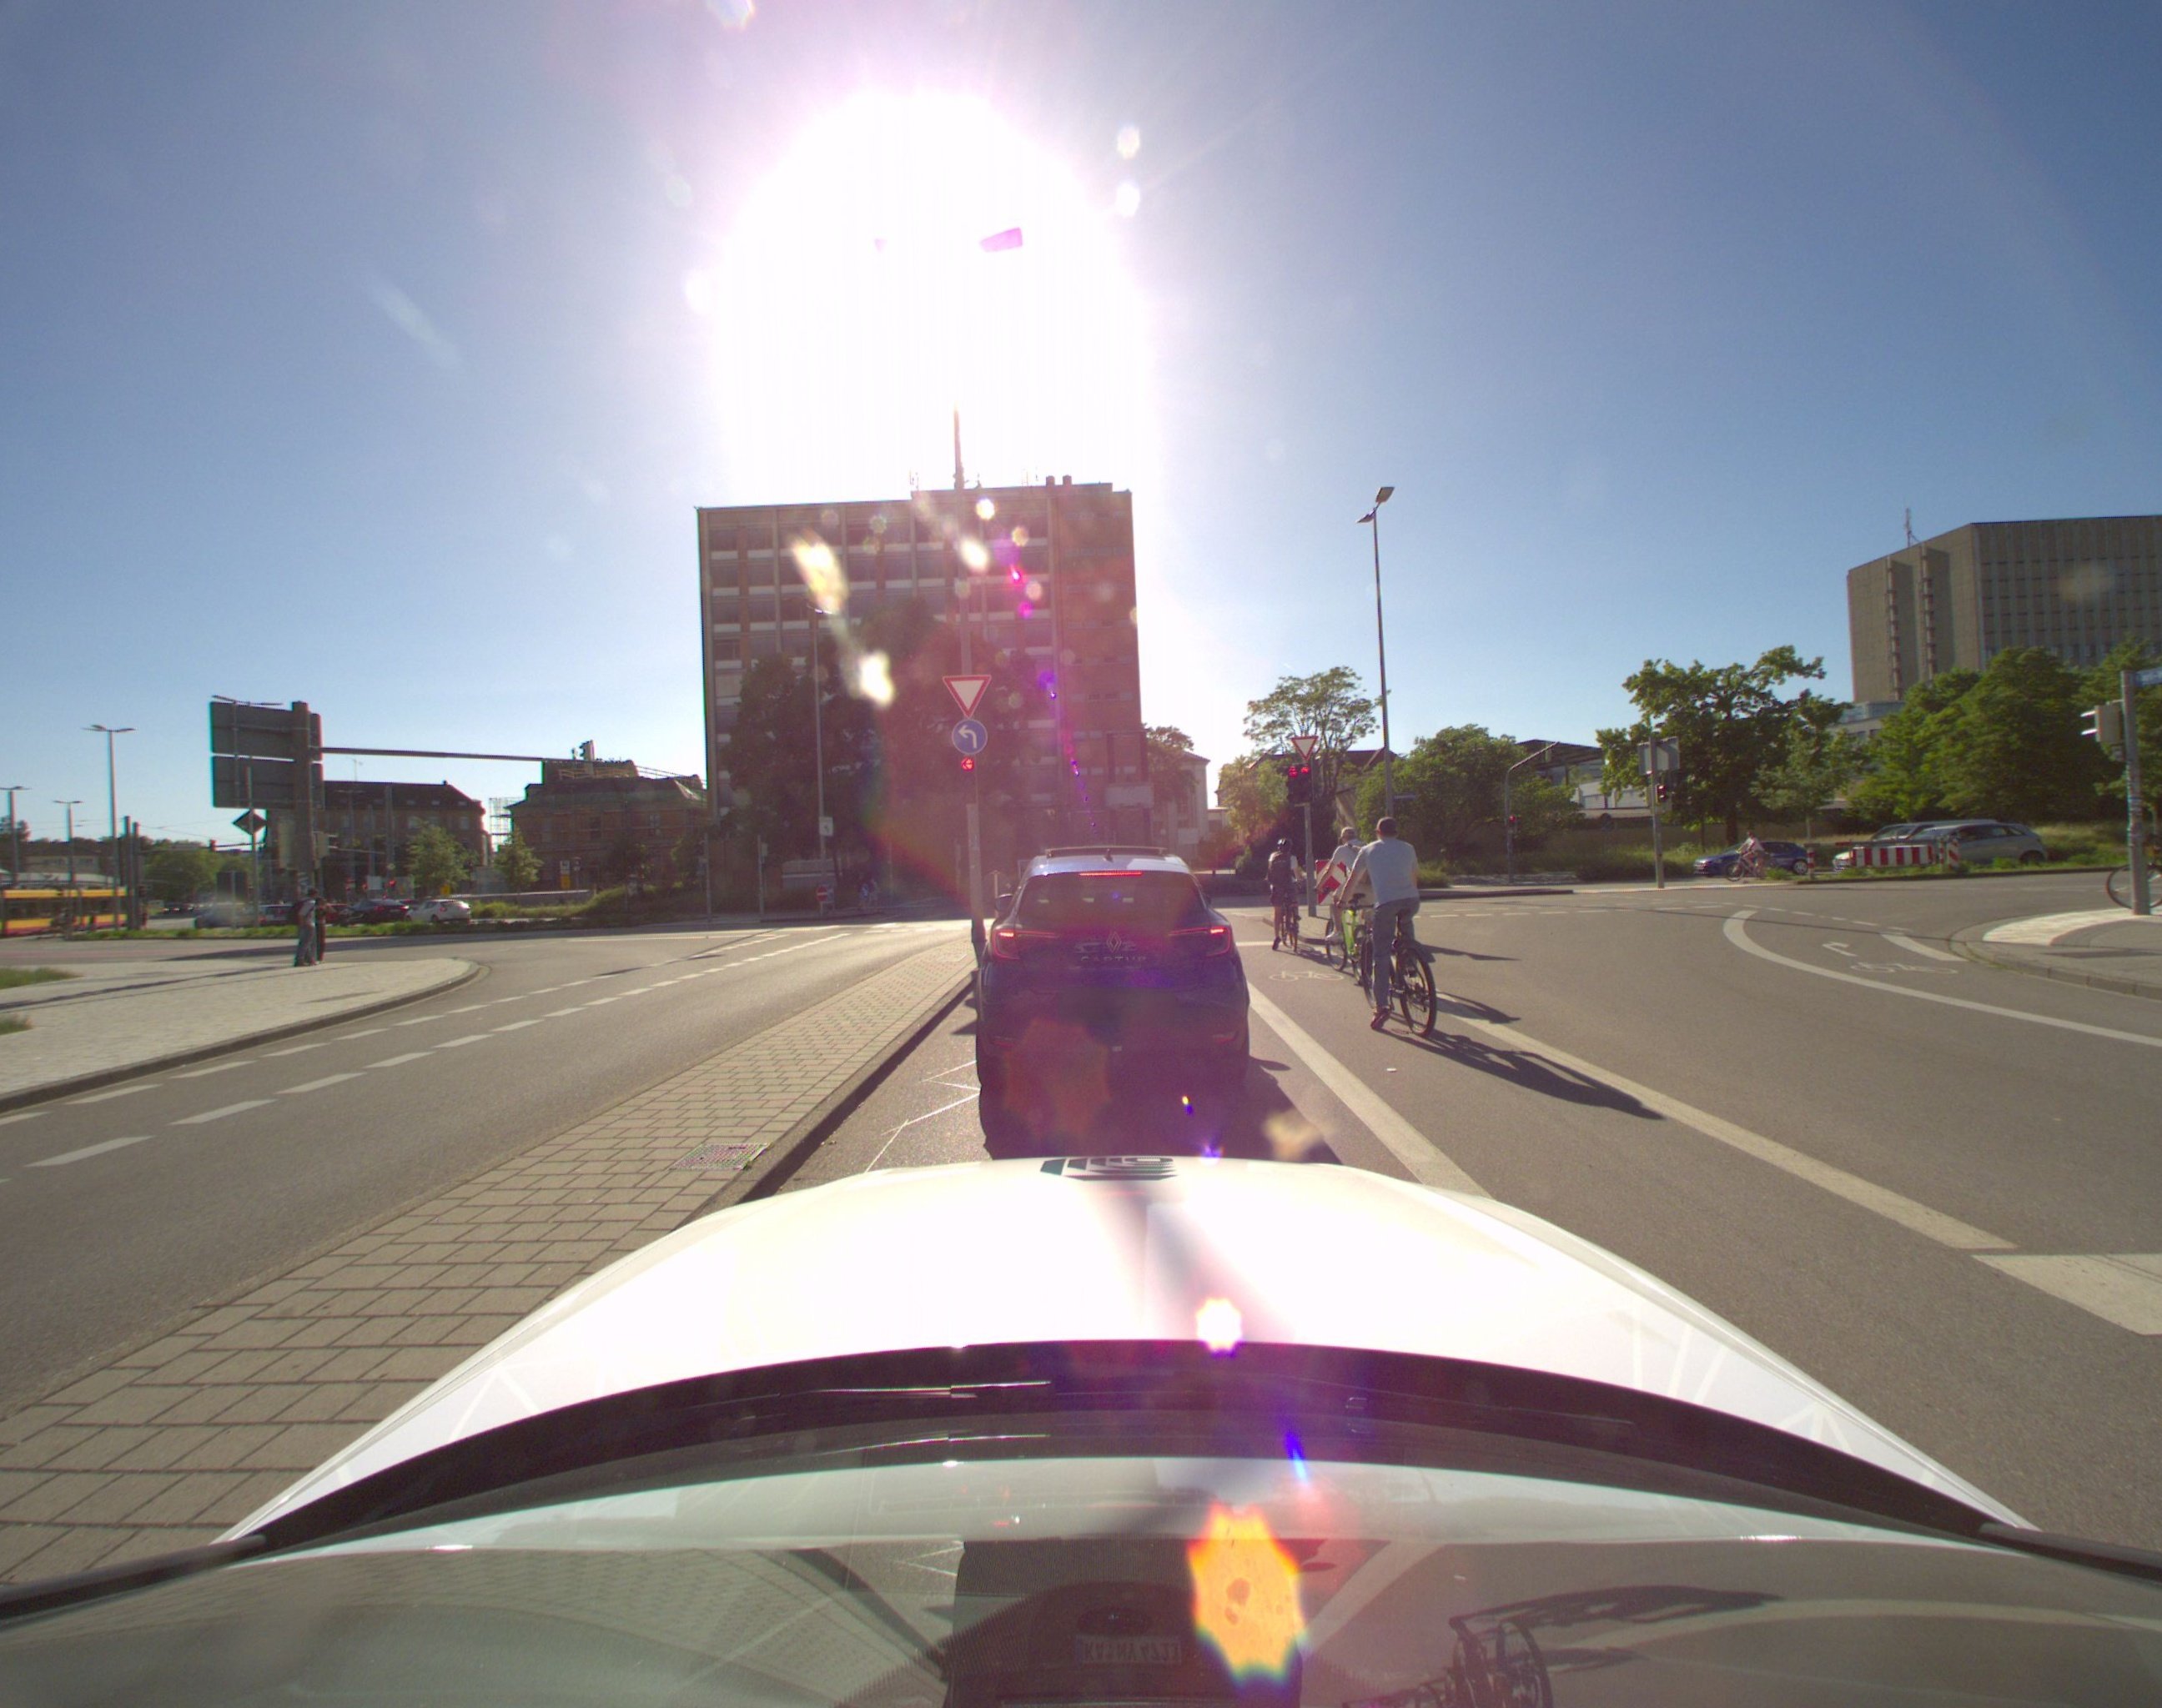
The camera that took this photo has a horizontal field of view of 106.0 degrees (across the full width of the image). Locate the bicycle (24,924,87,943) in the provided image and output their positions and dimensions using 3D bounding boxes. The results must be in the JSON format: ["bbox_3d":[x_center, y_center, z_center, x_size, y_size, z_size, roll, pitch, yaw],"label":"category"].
[{"bbox_3d":[-66.102,5.120,52.523,2.433,1.062,0.800,0,-1,-45],"label":"bicycle"}]

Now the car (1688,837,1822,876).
[{"bbox_3d":[28.138,0.109,34.110,3.965,1.398,1.798,-2,-1,7],"label":"car"}]

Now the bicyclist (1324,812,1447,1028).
[{"bbox_3d":[2.718,0.555,7.389,0.680,1.791,1.142,-1,-1,2],"label":"bicyclist"}]

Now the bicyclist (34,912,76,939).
[{"bbox_3d":[-66.135,4.595,52.519,1.585,1.634,0.800,0,-1,-44],"label":"bicyclist"}]

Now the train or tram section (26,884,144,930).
[{"bbox_3d":[-80.865,4.160,66.425,2.710,3.232,10.495,0,-1,-31],"label":"train or tram section"}]

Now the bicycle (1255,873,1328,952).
[{"bbox_3d":[3.271,0.874,12.809,0.687,1.089,1.923,-1,0,2],"label":"bicycle"}]

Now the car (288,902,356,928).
[{"bbox_3d":[-48.203,3.864,51.715,3.834,1.508,1.805,-3,-1,25],"label":"car"}]

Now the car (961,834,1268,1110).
[{"bbox_3d":[0.200,0.705,6.771,1.783,1.585,3.913,-1,0,0],"label":"car"}]

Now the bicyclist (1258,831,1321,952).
[{"bbox_3d":[3.240,0.559,12.742,0.697,1.791,1.142,-1,-1,2],"label":"bicyclist"}]

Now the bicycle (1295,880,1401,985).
[{"bbox_3d":[3.186,0.891,9.901,0.687,1.089,1.923,-1,0,2],"label":"bicycle"}]

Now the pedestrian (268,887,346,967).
[{"bbox_3d":[-17.719,1.647,18.656,0.647,1.730,1.066,-3,-1,15],"label":"pedestrian"}]

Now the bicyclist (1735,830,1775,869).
[{"bbox_3d":[24.039,-0.157,29.055,0.870,1.343,0.612,-2,-1,7],"label":"bicyclist"}]

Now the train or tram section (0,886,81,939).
[{"bbox_3d":[-75.371,4.047,57.454,2.710,3.232,10.495,0,-1,-31],"label":"train or tram section"}]

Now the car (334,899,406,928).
[{"bbox_3d":[-42.547,3.558,48.746,3.834,1.508,1.805,-3,-1,25],"label":"car"}]

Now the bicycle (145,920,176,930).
[{"bbox_3d":[-63.586,4.927,56.252,0.429,0.549,1.419,-3,-1,42],"label":"bicycle"}]

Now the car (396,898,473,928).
[{"bbox_3d":[-36.391,3.332,45.841,3.834,1.508,1.805,-3,-1,25],"label":"car"}]

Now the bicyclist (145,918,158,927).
[{"bbox_3d":[-63.879,4.709,55.953,0.425,0.549,0.575,-3,-1,42],"label":"bicyclist"}]

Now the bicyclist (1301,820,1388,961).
[{"bbox_3d":[3.172,0.422,9.904,0.676,1.594,1.142,-1,-1,1],"label":"bicyclist"}]

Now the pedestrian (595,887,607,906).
[{"bbox_3d":[-44.323,3.934,75.248,0.680,1.730,0.759,-2,-1,-7],"label":"pedestrian"}]

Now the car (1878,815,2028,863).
[{"bbox_3d":[35.874,-0.614,33.611,3.965,1.749,1.798,-2,-1,7],"label":"car"}]

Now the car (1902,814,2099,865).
[{"bbox_3d":[29.224,-0.430,26.005,3.965,1.398,1.798,-2,-1,7],"label":"car"}]

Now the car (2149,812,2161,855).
[{"bbox_3d":[36.905,-0.759,25.334,4.534,1.398,1.798,-2,-1,7],"label":"car"}]

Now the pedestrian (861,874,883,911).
[{"bbox_3d":[-9.949,1.834,38.769,0.675,1.730,0.764,-3,-1,15],"label":"pedestrian"}]

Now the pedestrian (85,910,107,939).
[{"bbox_3d":[-62.904,4.500,52.002,0.781,1.762,0.697,-2,-1,-45],"label":"pedestrian"}]

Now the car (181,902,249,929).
[{"bbox_3d":[-54.910,3.886,51.643,3.834,1.508,1.805,-3,-1,25],"label":"car"}]

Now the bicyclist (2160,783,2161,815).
[{"bbox_3d":[16.029,-0.224,11.477,0.635,1.646,0.903,-2,-1,-39],"label":"bicyclist"}]

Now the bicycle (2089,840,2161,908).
[{"bbox_3d":[15.918,0.270,11.630,0.640,0.958,1.866,-2,-1,-39],"label":"bicycle"}]

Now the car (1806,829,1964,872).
[{"bbox_3d":[30.300,-0.133,30.796,3.965,1.398,1.798,-2,-1,7],"label":"car"}]

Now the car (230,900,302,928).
[{"bbox_3d":[-48.860,3.599,48.811,3.834,1.508,1.805,-3,-1,25],"label":"car"}]

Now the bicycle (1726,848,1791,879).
[{"bbox_3d":[24.135,0.325,29.040,1.673,1.033,0.612,-2,-1,7],"label":"bicycle"}]

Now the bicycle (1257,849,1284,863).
[{"bbox_3d":[16.150,0.172,69.471,0.699,1.140,2.416,-2,-1,-33],"label":"bicycle"}]

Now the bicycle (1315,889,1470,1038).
[{"bbox_3d":[2.719,0.899,7.350,0.687,1.089,1.923,-1,0,2],"label":"bicycle"}]

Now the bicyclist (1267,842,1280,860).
[{"bbox_3d":[16.334,-0.235,69.184,0.699,1.481,0.710,-2,-1,-32],"label":"bicyclist"}]

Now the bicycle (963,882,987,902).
[{"bbox_3d":[-5.724,2.043,44.176,0.751,0.985,2.098,-2,0,8],"label":"bicycle"}]

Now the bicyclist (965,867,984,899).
[{"bbox_3d":[-5.759,1.561,44.076,0.751,1.716,1.001,-2,-1,7],"label":"bicyclist"}]

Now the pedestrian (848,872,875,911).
[{"bbox_3d":[-10.626,1.808,39.433,0.807,1.862,0.913,-3,-1,15],"label":"pedestrian"}]
